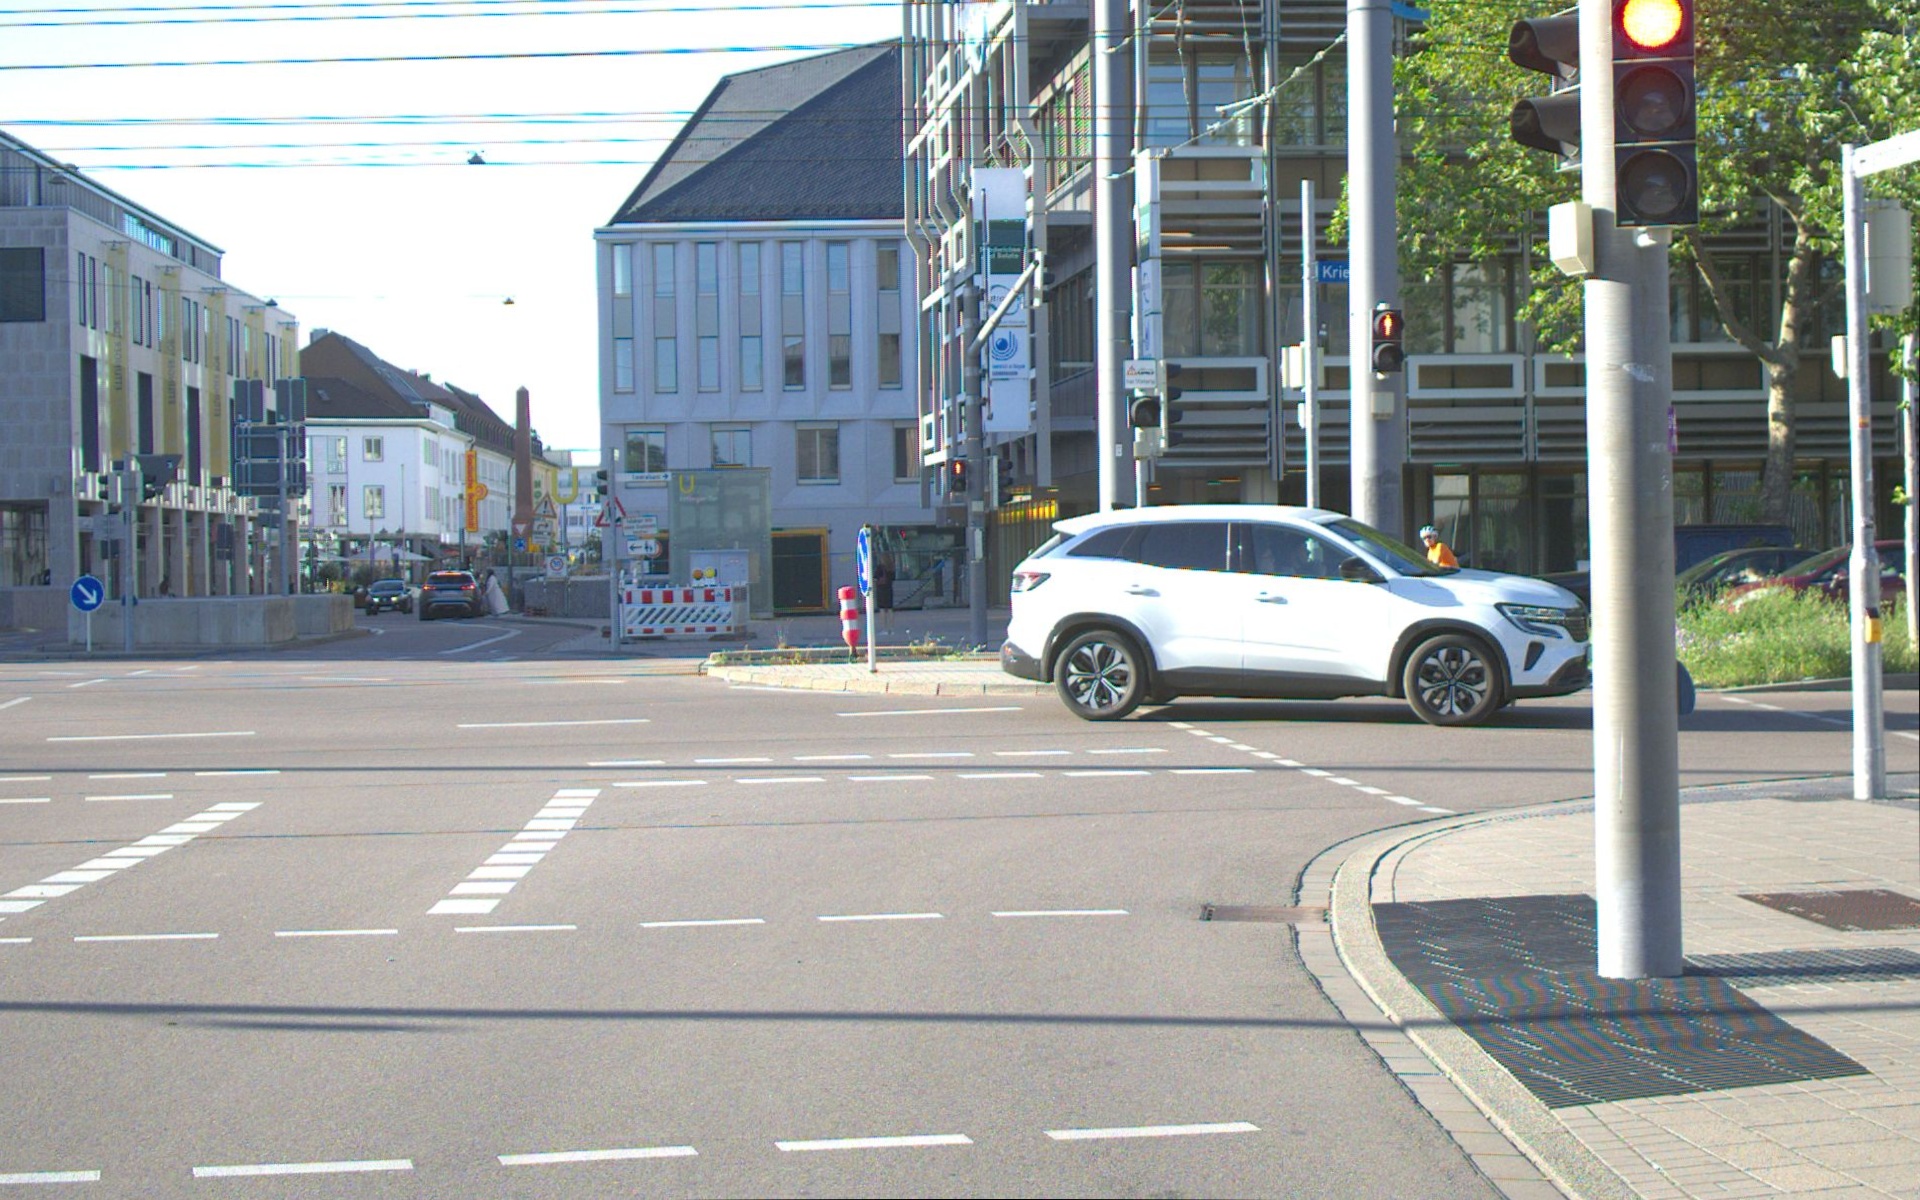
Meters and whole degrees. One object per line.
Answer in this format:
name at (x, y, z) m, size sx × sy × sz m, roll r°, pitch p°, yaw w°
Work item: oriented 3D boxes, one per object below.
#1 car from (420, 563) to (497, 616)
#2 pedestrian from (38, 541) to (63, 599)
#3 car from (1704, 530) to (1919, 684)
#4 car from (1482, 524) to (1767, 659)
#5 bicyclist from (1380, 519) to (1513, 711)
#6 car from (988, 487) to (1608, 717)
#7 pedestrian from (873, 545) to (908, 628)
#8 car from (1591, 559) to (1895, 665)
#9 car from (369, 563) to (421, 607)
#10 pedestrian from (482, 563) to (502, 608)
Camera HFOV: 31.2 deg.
car at (-15.797, -0.347, 108.418) m, size 2.199 × 1.601 × 4.327 m, roll -1°, pitch 1°, yaw -6°
pedestrian at (-31.768, -1.044, 120.030) m, size 0.626 × 2.007 × 0.733 m, roll -1°, pitch 1°, yaw 2°
car at (12.293, 0.092, 46.402) m, size 3.986 × 2.007 × 2.000 m, roll 1°, pitch 0°, yaw -3°
car at (10.351, -0.139, 53.770) m, size 3.986 × 2.007 × 2.000 m, roll 1°, pitch 0°, yaw -3°
bicyclist at (6.667, 0.194, 47.133) m, size 1.567 × 2.571 × 0.932 m, roll -1°, pitch 1°, yaw -9°
car at (2.615, 0.030, 26.395) m, size 4.395 × 1.654 × 1.998 m, roll 0°, pitch 0°, yaw 19°
pedestrian at (-1.405, -0.281, 69.612) m, size 0.663 × 1.652 × 0.755 m, roll -1°, pitch 1°, yaw -3°
car at (11.499, 0.162, 50.654) m, size 3.986 × 1.503 × 1.868 m, roll 0°, pitch 1°, yaw -3°
car at (-23.846, -0.645, 145.173) m, size 1.756 × 1.777 × 4.001 m, roll -1°, pitch 1°, yaw -4°
pedestrian at (-14.764, -0.463, 108.435) m, size 0.609 × 1.406 × 0.570 m, roll -1°, pitch 1°, yaw -6°
